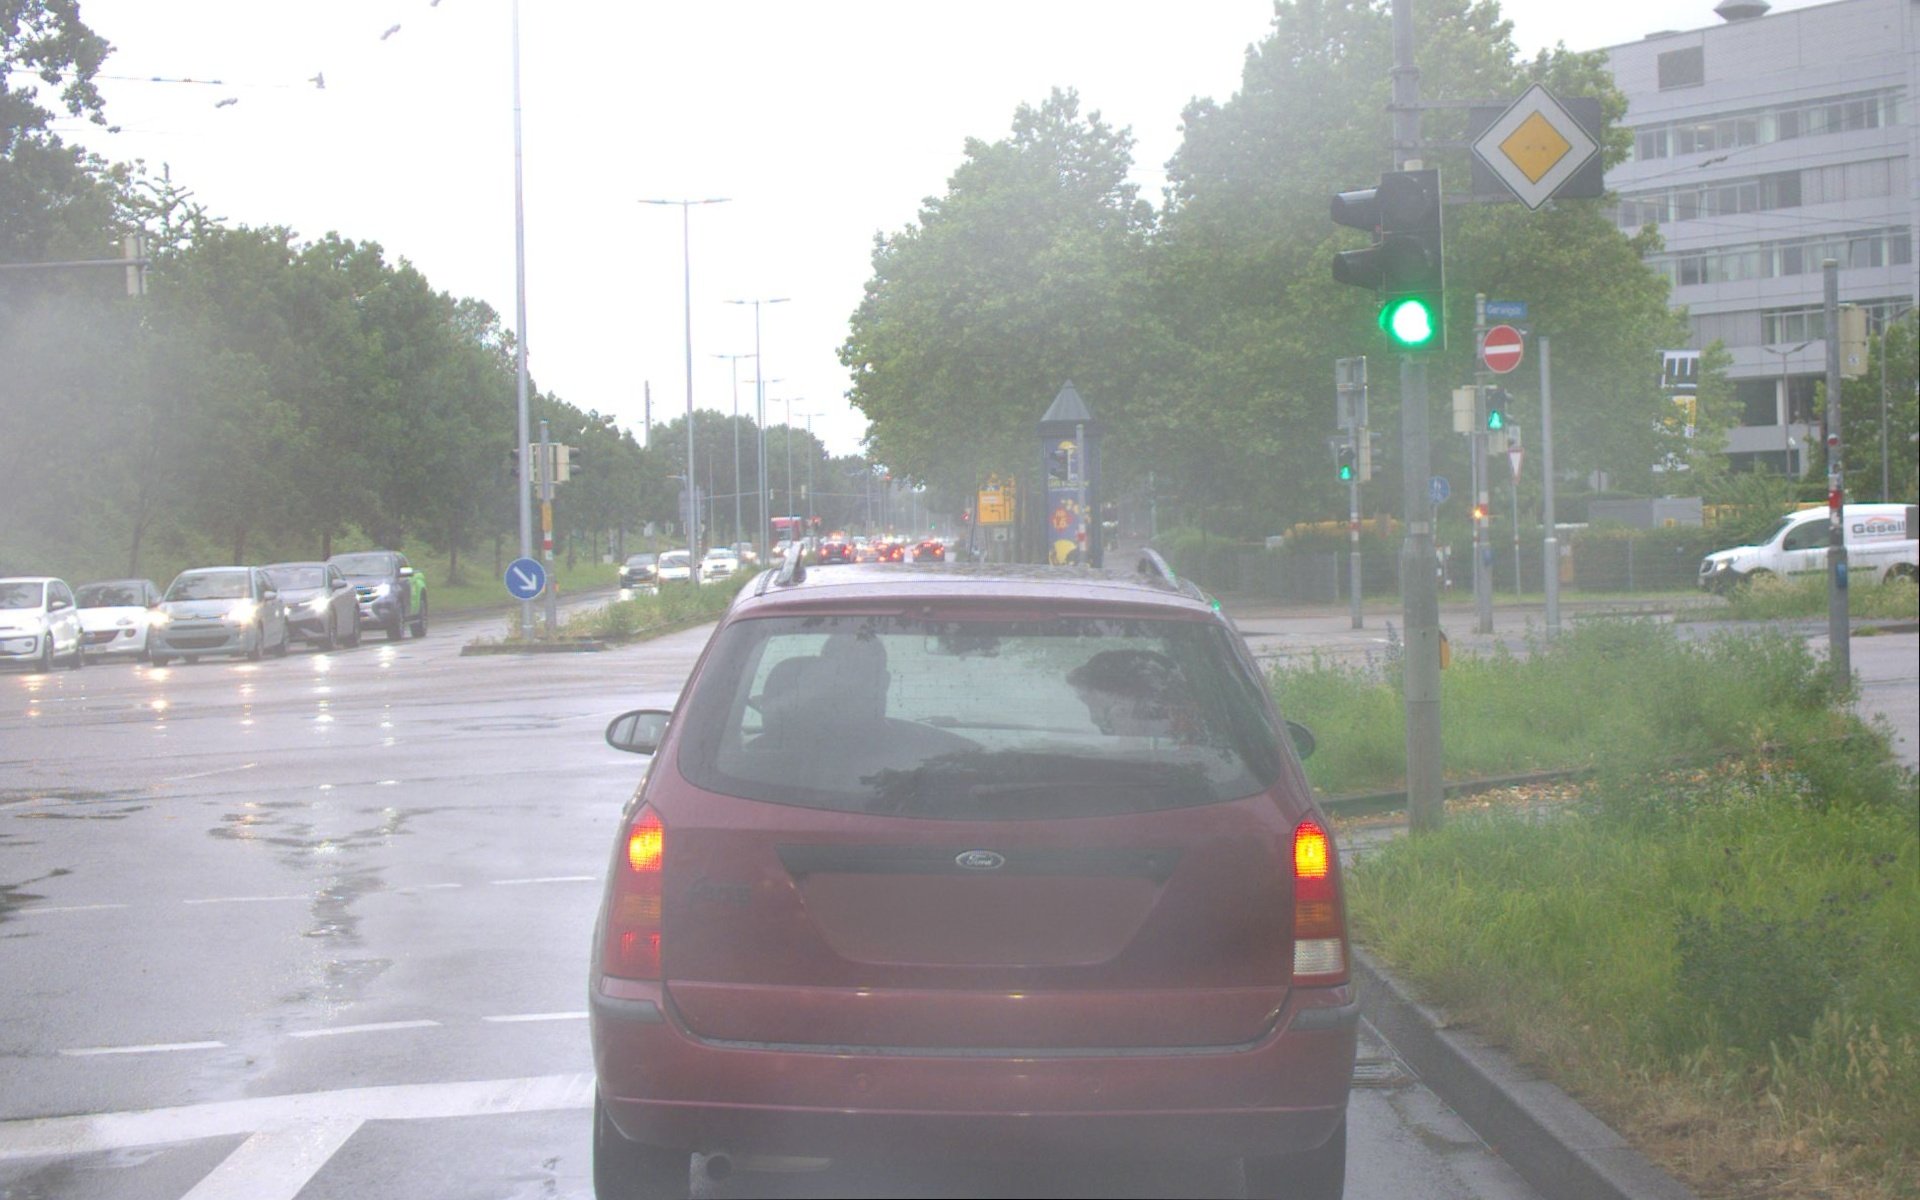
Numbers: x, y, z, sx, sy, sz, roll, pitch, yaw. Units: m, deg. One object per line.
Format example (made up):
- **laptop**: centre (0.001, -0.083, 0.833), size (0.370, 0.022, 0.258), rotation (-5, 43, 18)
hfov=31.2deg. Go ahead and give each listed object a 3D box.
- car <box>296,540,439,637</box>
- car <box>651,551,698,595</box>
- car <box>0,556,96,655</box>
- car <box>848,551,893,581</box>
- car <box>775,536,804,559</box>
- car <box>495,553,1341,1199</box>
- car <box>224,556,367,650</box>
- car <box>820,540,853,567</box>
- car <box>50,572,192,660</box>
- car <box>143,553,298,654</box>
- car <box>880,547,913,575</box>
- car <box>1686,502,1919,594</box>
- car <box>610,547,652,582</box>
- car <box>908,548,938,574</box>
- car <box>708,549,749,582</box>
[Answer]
- **car**: centre (-11.982, -0.273, 69.864), size (2.065, 1.813, 5.542), rotation (-2, 1, -2)
- **car**: centre (-11.821, -1.130, 142.424), size (1.743, 1.696, 4.284), rotation (-3, 1, -3)
- **car**: centre (-14.703, 0.073, 53.561), size (1.638, 1.447, 3.788), rotation (-2, 1, -3)
- **car**: centre (-4.792, -1.812, 183.710), size (2.147, 1.522, 4.192), rotation (-1, 1, 2)
- **car**: centre (-12.580, -3.896, 254.048), size (1.963, 1.591, 4.284), rotation (-2, 1, -1)
- **car**: centre (-0.136, 0.629, 8.606), size (1.642, 1.460, 3.733), rotation (1, 1, -2)
- **car**: centre (-11.917, 0.041, 61.890), size (1.762, 1.580, 4.814), rotation (-2, 0, -2)
- **car**: centre (-7.229, -2.730, 201.126), size (1.698, 1.522, 3.846), rotation (-1, 1, 1)
- **car**: centre (-14.589, 0.252, 59.950), size (1.590, 1.399, 3.823), rotation (-2, 1, -2)
- **car**: centre (-11.703, 0.026, 54.616), size (1.638, 1.468, 3.965), rotation (-2, 1, -1)
- **car**: centre (-3.549, -2.193, 192.536), size (1.698, 1.522, 3.846), rotation (-1, 1, 1)
- **car**: centre (15.974, -0.981, 64.755), size (4.230, 1.720, 1.741), rotation (0, 1, 0)
- **car**: centre (-16.095, -1.750, 168.205), size (1.743, 1.696, 4.284), rotation (1, 1, -2)
- **car**: centre (-2.248, -2.412, 210.027), size (1.671, 1.522, 3.846), rotation (-1, 1, 1)
- **car**: centre (-12.661, -1.900, 187.988), size (1.963, 1.696, 4.284), rotation (-2, 1, -1)
